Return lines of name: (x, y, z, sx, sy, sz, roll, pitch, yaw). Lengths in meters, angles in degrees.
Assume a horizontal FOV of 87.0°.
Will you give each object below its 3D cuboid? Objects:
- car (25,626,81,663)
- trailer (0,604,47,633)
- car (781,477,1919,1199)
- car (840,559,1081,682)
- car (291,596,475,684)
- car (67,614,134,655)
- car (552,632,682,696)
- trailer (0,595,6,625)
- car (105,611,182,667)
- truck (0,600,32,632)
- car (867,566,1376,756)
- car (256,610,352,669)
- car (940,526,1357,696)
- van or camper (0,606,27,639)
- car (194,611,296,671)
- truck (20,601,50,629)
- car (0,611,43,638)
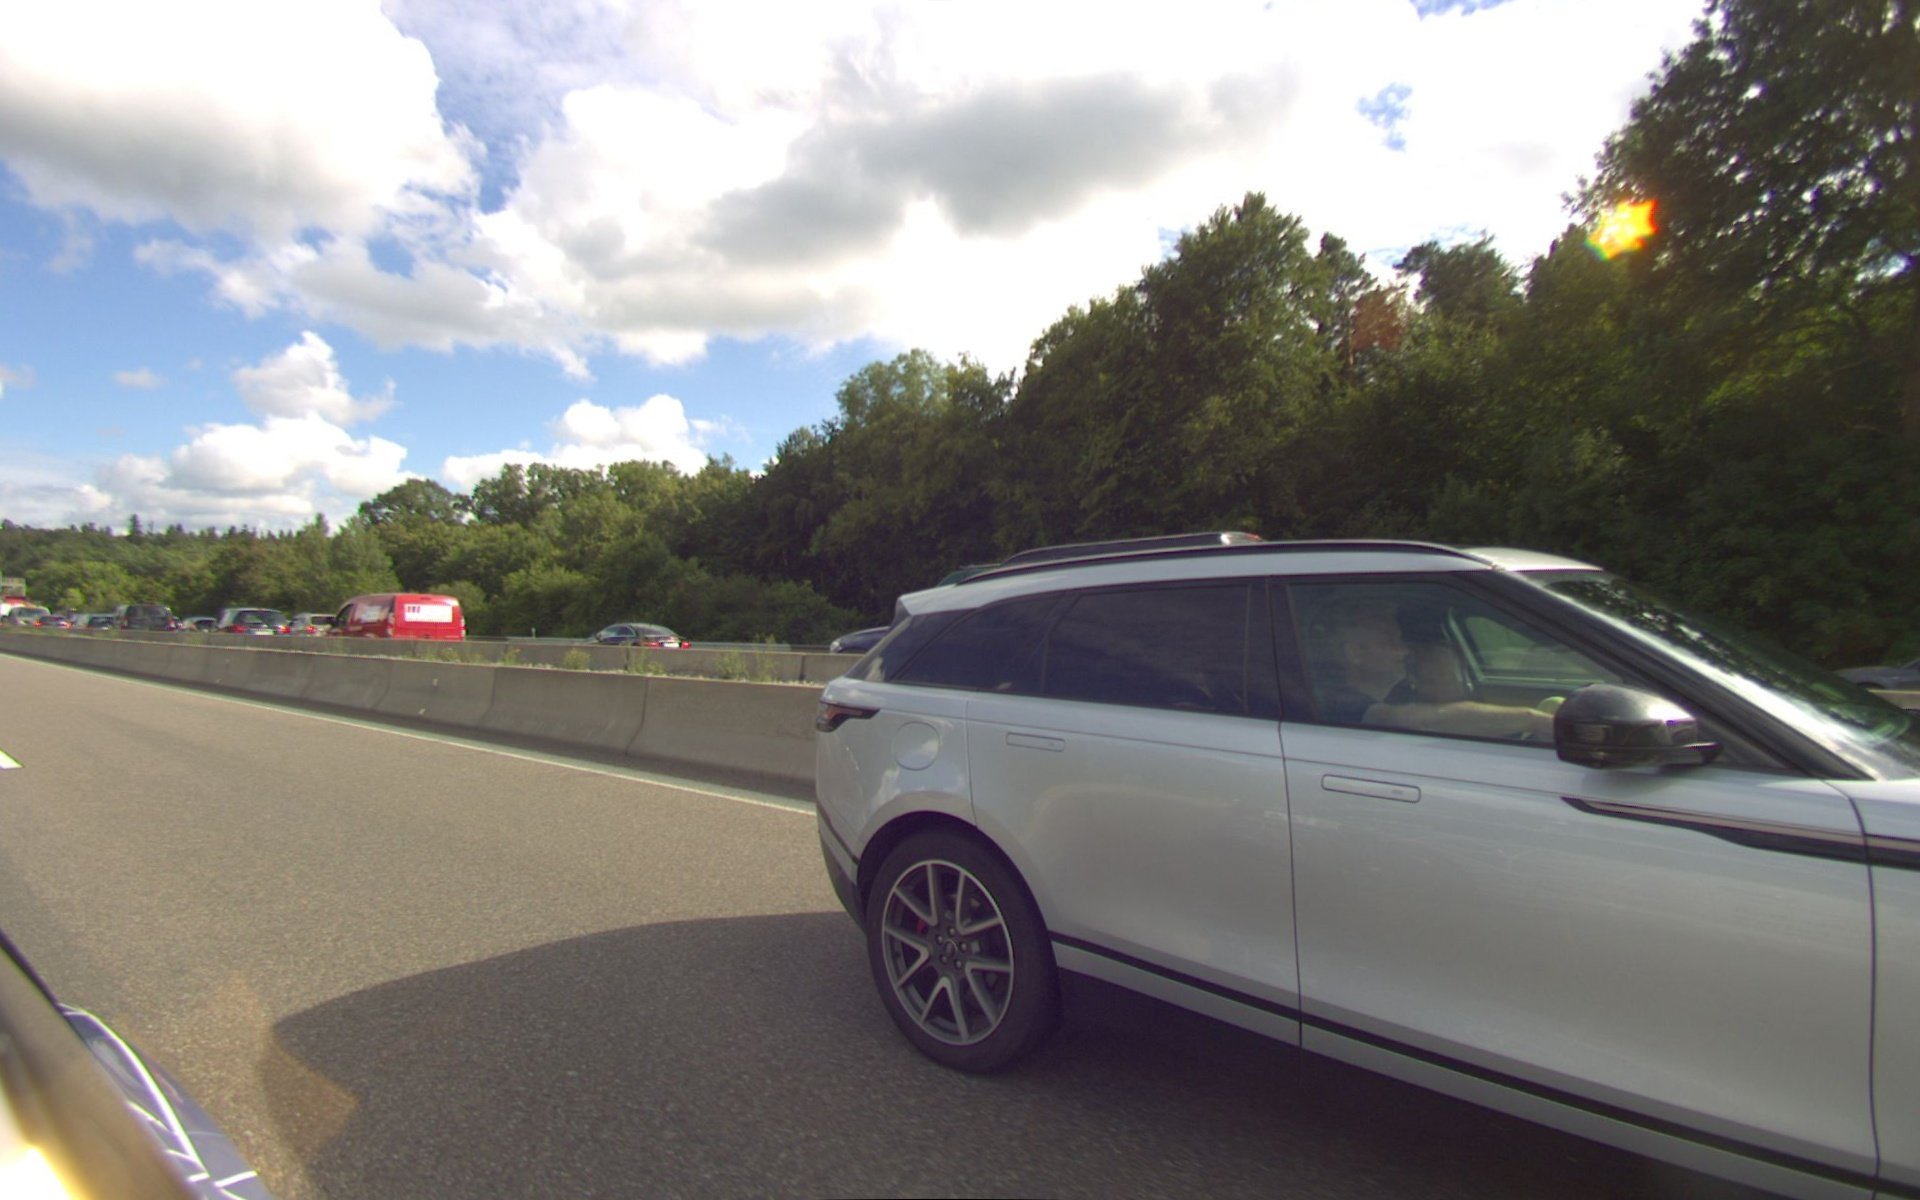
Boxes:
car: (-51.463, 2.471, 57.394, 4.458, 1.919, 1.972, 0, 0, 42)
trailer: (-116.237, 2.309, 125.435, 14.209, 3.361, 2.700, -1, 0, 40)
car: (1.853, 0.606, 2.727, 5.104, 1.619, 1.880, 0, 0, 42)
car: (-0.121, 0.430, 22.137, 5.328, 2.391, 1.972, -1, 0, 42)
car: (-13.115, 0.843, 22.847, 5.289, 1.776, 1.857, -1, 0, 40)
car: (-41.984, 1.631, 49.412, 4.458, 1.772, 1.972, 1, 1, 42)
car: (-10.889, 1.961, 31.993, 4.458, 1.776, 1.972, -1, 0, 42)
trailer: (-143.792, 1.345, 149.418, 13.651, 4.266, 2.743, 1, 1, 40)
car: (-33.442, 1.533, 41.409, 4.452, 2.029, 1.797, 1, 1, 42)
truck: (-121.566, 1.987, 129.918, 6.848, 3.968, 2.748, -1, 0, 40)
car: (1.491, 0.534, 10.945, 5.206, 1.584, 1.972, -1, 0, 42)
car: (-25.346, 1.491, 39.062, 4.458, 2.029, 1.972, 1, -2, 42)
car: (2.515, 0.166, 14.845, 5.844, 2.047, 1.972, -1, 0, 42)
van or camper: (-97.003, 2.270, 103.101, 6.240, 3.196, 2.117, -1, 0, 40)
car: (-23.558, 1.283, 33.271, 4.458, 1.776, 1.838, 0, 0, 42)
truck: (-147.557, 2.375, 161.388, 5.449, 4.180, 2.783, 2, 2, 40)
car: (-59.639, 1.534, 64.042, 4.814, 1.584, 1.972, -1, -1, 42)
